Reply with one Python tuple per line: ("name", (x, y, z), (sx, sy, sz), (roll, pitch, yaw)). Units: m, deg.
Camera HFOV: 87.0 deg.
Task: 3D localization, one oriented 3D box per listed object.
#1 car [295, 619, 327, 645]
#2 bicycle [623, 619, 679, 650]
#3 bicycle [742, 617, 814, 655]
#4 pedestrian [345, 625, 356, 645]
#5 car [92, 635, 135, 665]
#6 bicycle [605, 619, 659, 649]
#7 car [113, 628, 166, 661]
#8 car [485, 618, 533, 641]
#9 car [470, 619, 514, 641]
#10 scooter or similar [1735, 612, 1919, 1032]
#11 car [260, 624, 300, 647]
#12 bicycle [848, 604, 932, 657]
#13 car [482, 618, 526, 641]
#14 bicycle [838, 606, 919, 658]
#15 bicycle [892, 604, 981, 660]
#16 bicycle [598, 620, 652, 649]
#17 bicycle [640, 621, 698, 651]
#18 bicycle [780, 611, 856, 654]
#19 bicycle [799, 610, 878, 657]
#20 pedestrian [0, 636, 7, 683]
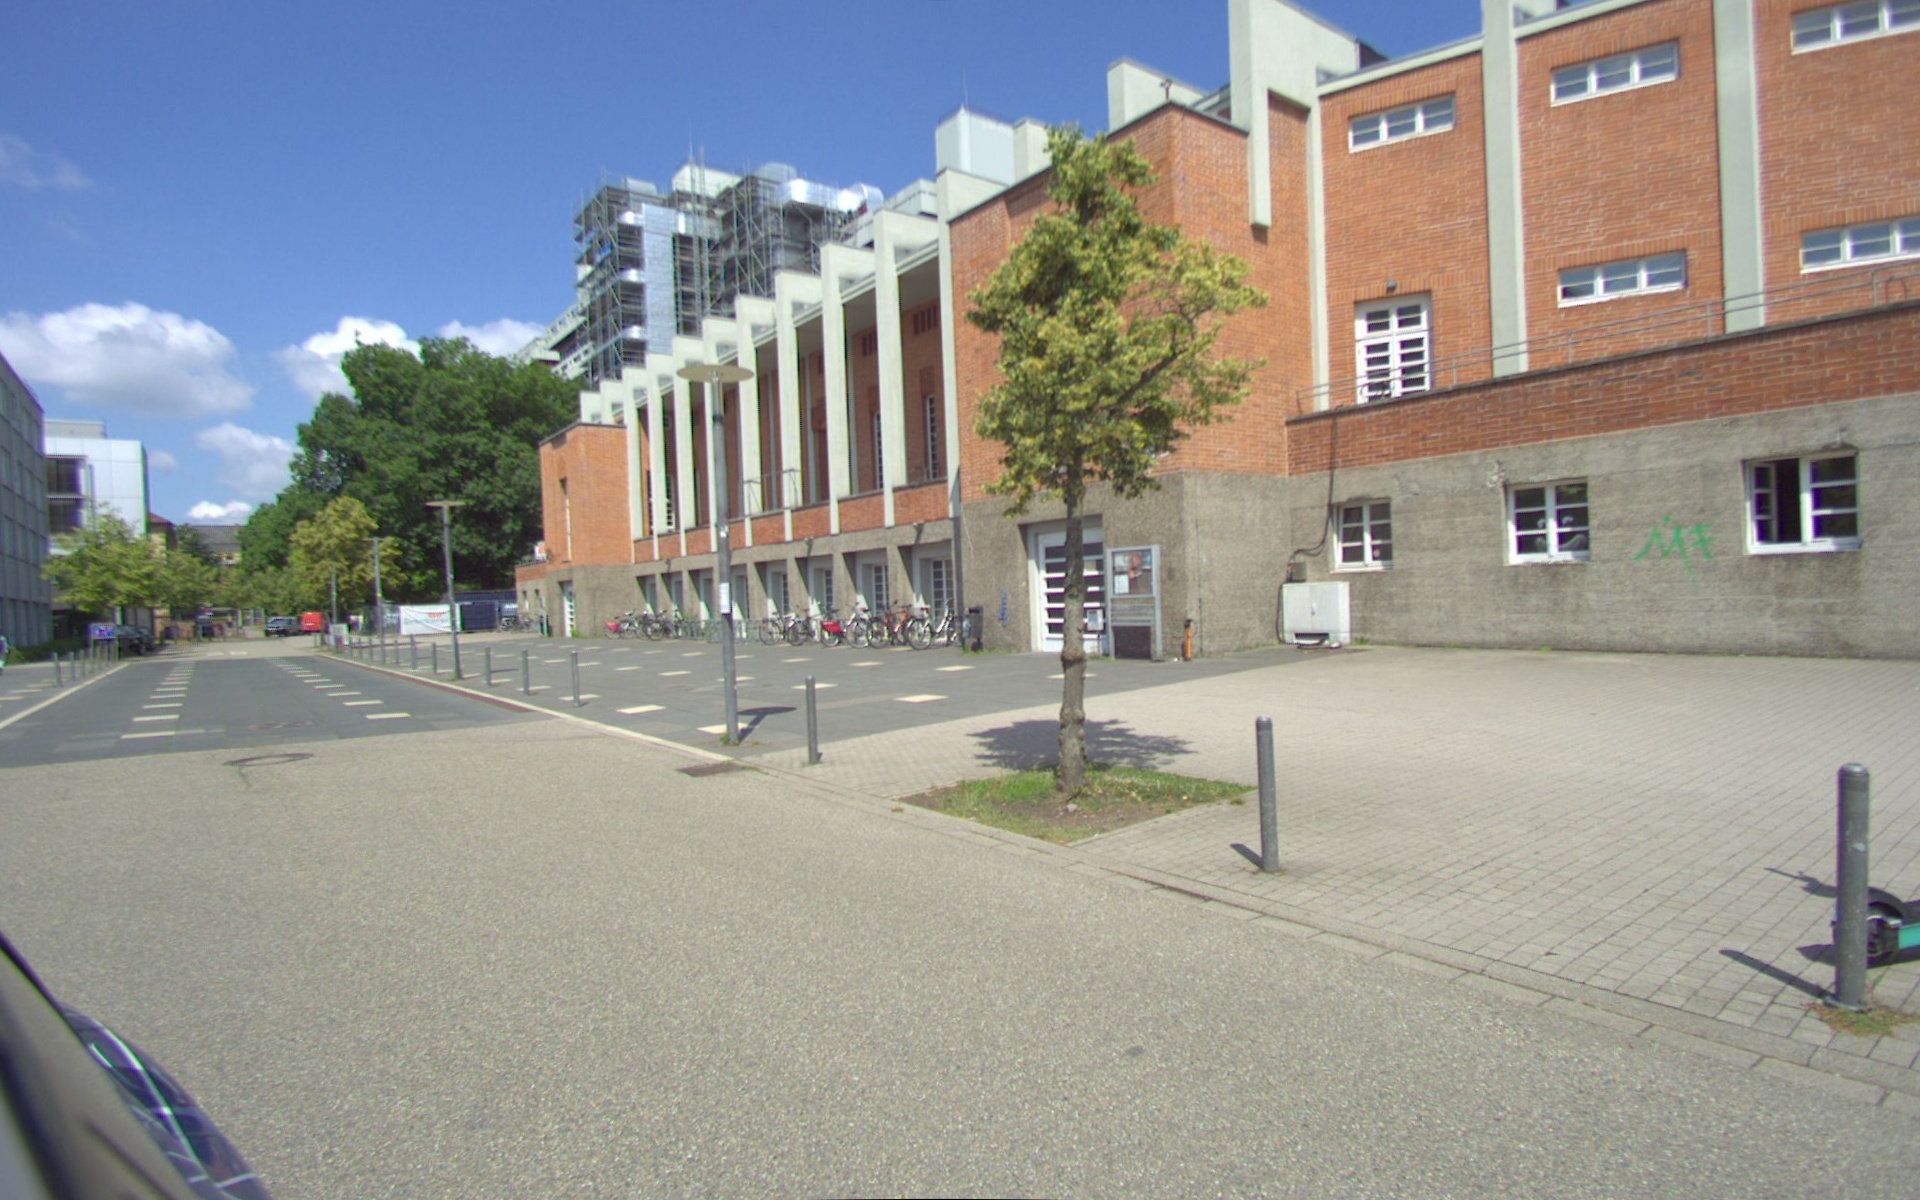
("car", (-51.609, 2.539, 80.517), (1.882, 1.896, 4.012), (-3, 0, -30))
("bicycle", (-11.550, 1.275, 37.852), (1.925, 1.038, 0.531), (-3, 0, -38))
("bicycle", (-5.250, 1.034, 29.215), (1.925, 0.967, 0.686), (-3, 0, -38))
("pedestrian", (-50.356, 2.890, 83.616), (0.632, 1.550, 0.454), (-3, 0, -26))
("car", (-42.471, 2.487, 50.837), (1.528, 1.396, 3.460), (-3, 0, -39))
("bicycle", (-12.918, 1.328, 39.842), (1.925, 1.038, 0.519), (-3, 0, -38))
("car", (-46.918, 2.503, 57.904), (1.909, 1.694, 3.479), (-2, 0, -32))
("car", (-25.884, 1.676, 58.121), (2.331, 1.189, 0.796), (-3, 0, -36))
("car", (-28.420, 1.807, 61.487), (2.288, 1.189, 0.480), (-3, 0, -36))
("scooter or similar", (3.618, 0.664, 3.483), (1.550, 1.234, 0.572), (-3, 1, -10))
("car", (-67.962, 3.559, 101.250), (1.993, 2.107, 4.445), (-3, 0, -16))
("bicycle", (-1.688, 0.726, 24.565), (1.995, 1.134, 0.594), (-3, 0, -36))
("car", (-26.857, 1.731, 59.586), (2.253, 1.189, 0.525), (-3, 0, -36))
("bicycle", (-2.021, 0.784, 25.251), (1.994, 1.134, 0.440), (-5, 1, -33))
("bicycle", (-0.518, 0.714, 23.089), (1.996, 1.134, 0.668), (-3, 0, -38))
("bicycle", (-13.442, 1.358, 40.625), (1.925, 1.038, 0.543), (-3, 0, -38))
("bicycle", (-10.547, 1.305, 36.704), (1.925, 0.947, 0.570), (-3, 0, -38))
("bicycle", (-3.932, 0.888, 28.106), (1.996, 1.069, 0.664), (-3, 0, -38))
("bicycle", (-3.165, 0.854, 26.444), (1.984, 1.090, 0.623), (-3, 0, -38))
("pedestrian", (-30.592, 1.889, 31.983), (0.517, 1.449, 0.702), (-3, 0, -34))
